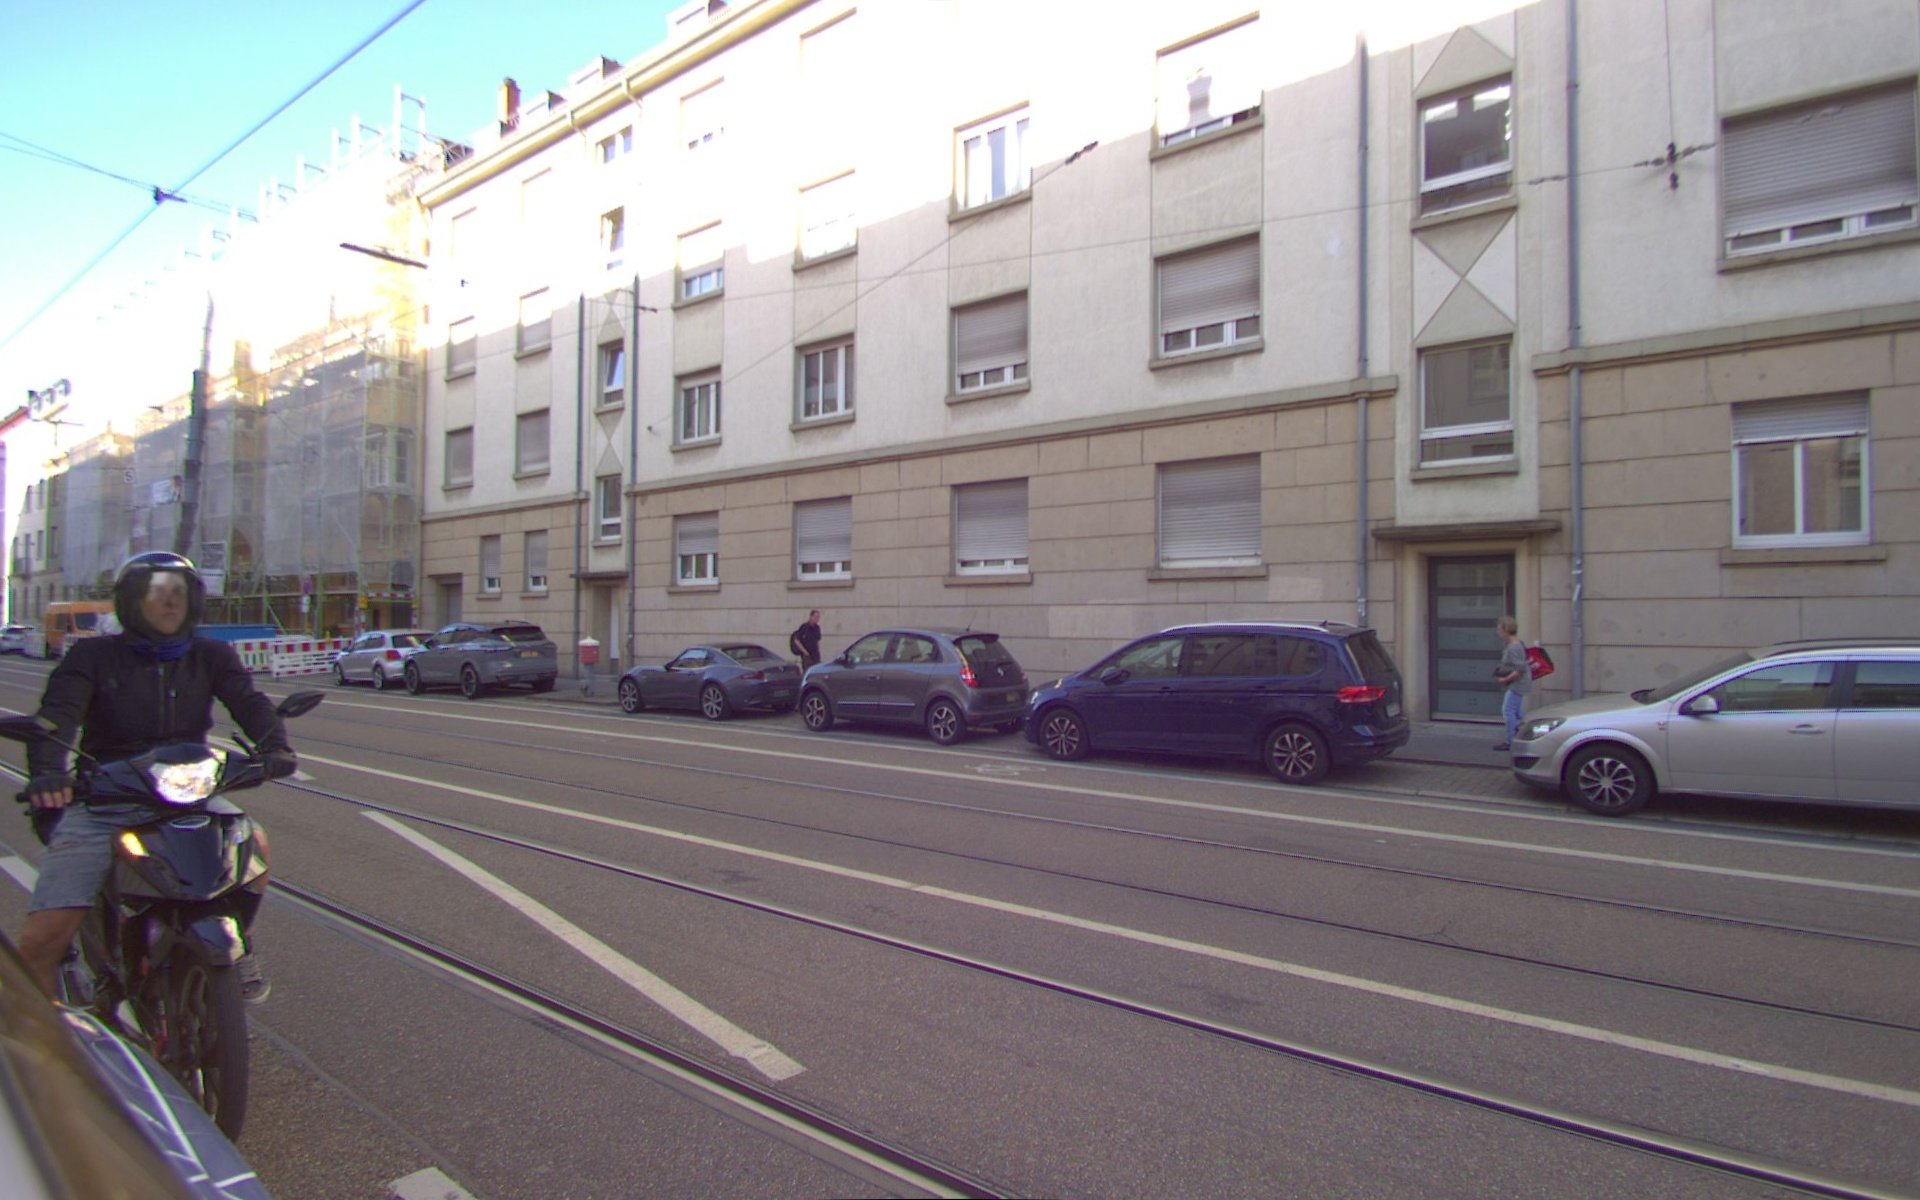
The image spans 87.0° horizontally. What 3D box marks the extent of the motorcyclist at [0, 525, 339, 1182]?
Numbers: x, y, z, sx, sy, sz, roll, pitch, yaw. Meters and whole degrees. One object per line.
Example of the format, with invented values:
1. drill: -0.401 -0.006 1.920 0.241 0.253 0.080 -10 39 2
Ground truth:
1. motorcyclist: -2.547 0.661 3.158 0.899 1.668 0.781 -2 -3 41

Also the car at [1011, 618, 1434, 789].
1. car: 2.887 1.038 11.674 4.383 1.611 1.779 -1 -1 38

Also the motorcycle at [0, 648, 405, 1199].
1. motorcycle: -2.644 0.823 3.235 2.272 1.302 0.781 -2 -3 41

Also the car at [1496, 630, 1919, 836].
1. car: 7.121 1.008 8.500 4.383 1.489 1.779 -1 -1 38

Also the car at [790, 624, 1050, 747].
1. car: -0.634 1.139 14.653 3.535 1.539 1.659 -1 -1 38

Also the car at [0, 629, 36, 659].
1. car: -50.074 2.281 53.336 3.964 1.498 1.662 -2 -1 42

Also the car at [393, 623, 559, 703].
1. car: -10.889 1.341 22.658 4.201 1.611 1.675 -1 -1 38

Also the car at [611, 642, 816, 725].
1. car: -4.320 1.372 17.498 3.681 1.244 1.502 -1 -1 38

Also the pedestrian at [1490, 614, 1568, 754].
1. pedestrian: 6.582 0.945 11.709 0.693 1.553 0.563 -2 -3 39

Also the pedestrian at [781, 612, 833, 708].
1. pedestrian: -2.795 1.081 18.495 0.729 1.722 0.597 -2 -3 39

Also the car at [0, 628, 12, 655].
1. car: -54.590 2.337 56.812 3.964 1.498 1.662 -2 -1 42

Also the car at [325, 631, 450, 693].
1. car: -14.391 1.506 25.394 3.506 1.423 1.524 -1 -1 38
